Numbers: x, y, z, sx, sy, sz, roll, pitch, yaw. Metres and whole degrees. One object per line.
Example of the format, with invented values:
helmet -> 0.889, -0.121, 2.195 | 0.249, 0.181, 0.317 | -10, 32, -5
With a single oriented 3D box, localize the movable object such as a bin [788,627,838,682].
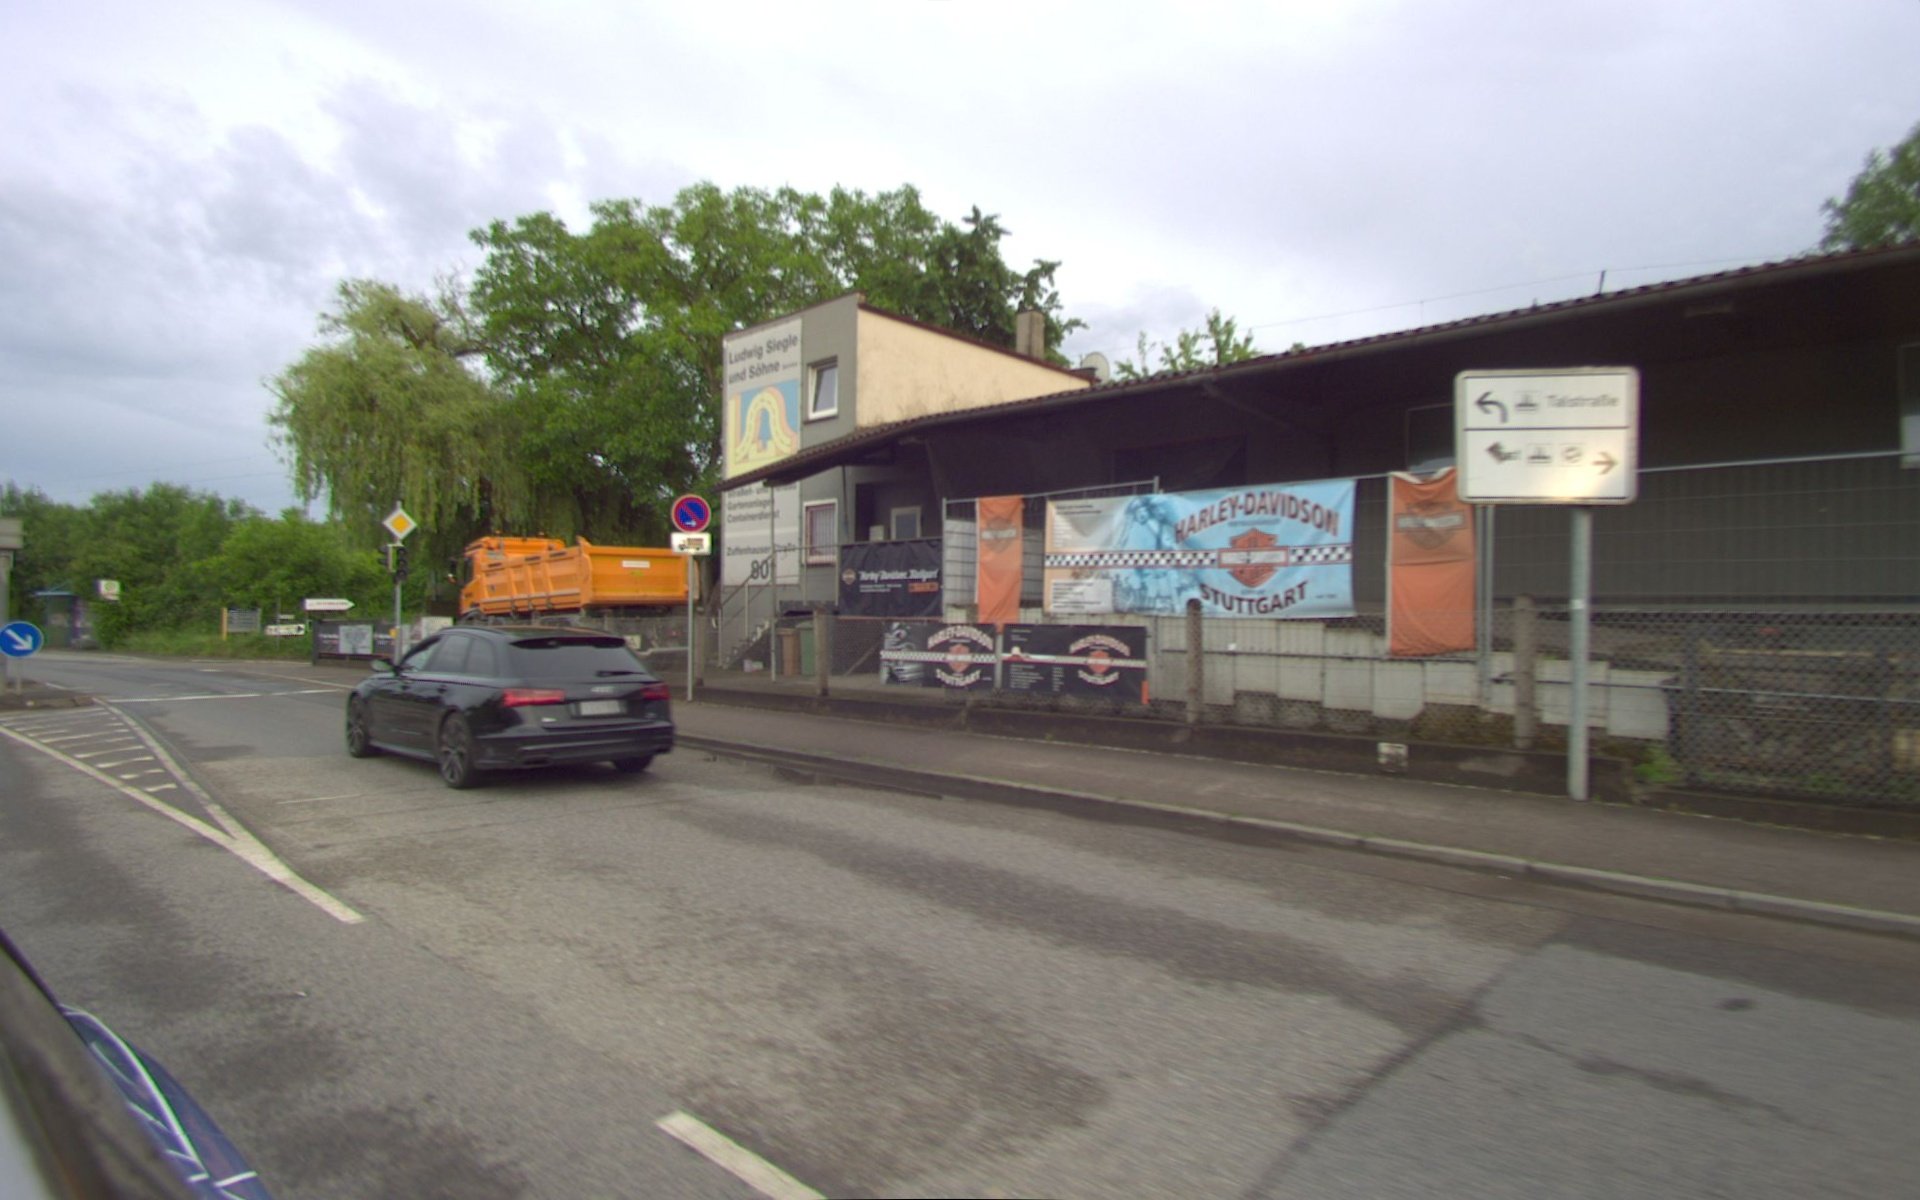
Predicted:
movable object such as a bin -> -2.925, 1.069, 20.132 | 0.624, 1.064, 0.755 | -2, -2, 42

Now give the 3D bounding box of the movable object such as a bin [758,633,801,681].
movable object such as a bin -> -3.717, 1.160, 20.858 | 0.460, 0.963, 0.741 | -2, -2, 41

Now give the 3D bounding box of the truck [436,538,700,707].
truck -> -9.899, 0.360, 24.794 | 2.666, 3.437, 9.078 | -1, 2, -44

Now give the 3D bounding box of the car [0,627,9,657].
car -> -50.980, 2.263, 51.869 | 4.681, 1.485, 1.980 | -4, -1, 30

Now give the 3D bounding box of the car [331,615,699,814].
car -> -4.634, 0.936, 10.170 | 4.543, 1.462, 1.723 | 1, 0, 43

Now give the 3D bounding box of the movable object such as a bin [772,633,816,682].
movable object such as a bin -> -3.355, 1.161, 20.505 | 0.478, 0.963, 0.755 | -2, -2, 42
